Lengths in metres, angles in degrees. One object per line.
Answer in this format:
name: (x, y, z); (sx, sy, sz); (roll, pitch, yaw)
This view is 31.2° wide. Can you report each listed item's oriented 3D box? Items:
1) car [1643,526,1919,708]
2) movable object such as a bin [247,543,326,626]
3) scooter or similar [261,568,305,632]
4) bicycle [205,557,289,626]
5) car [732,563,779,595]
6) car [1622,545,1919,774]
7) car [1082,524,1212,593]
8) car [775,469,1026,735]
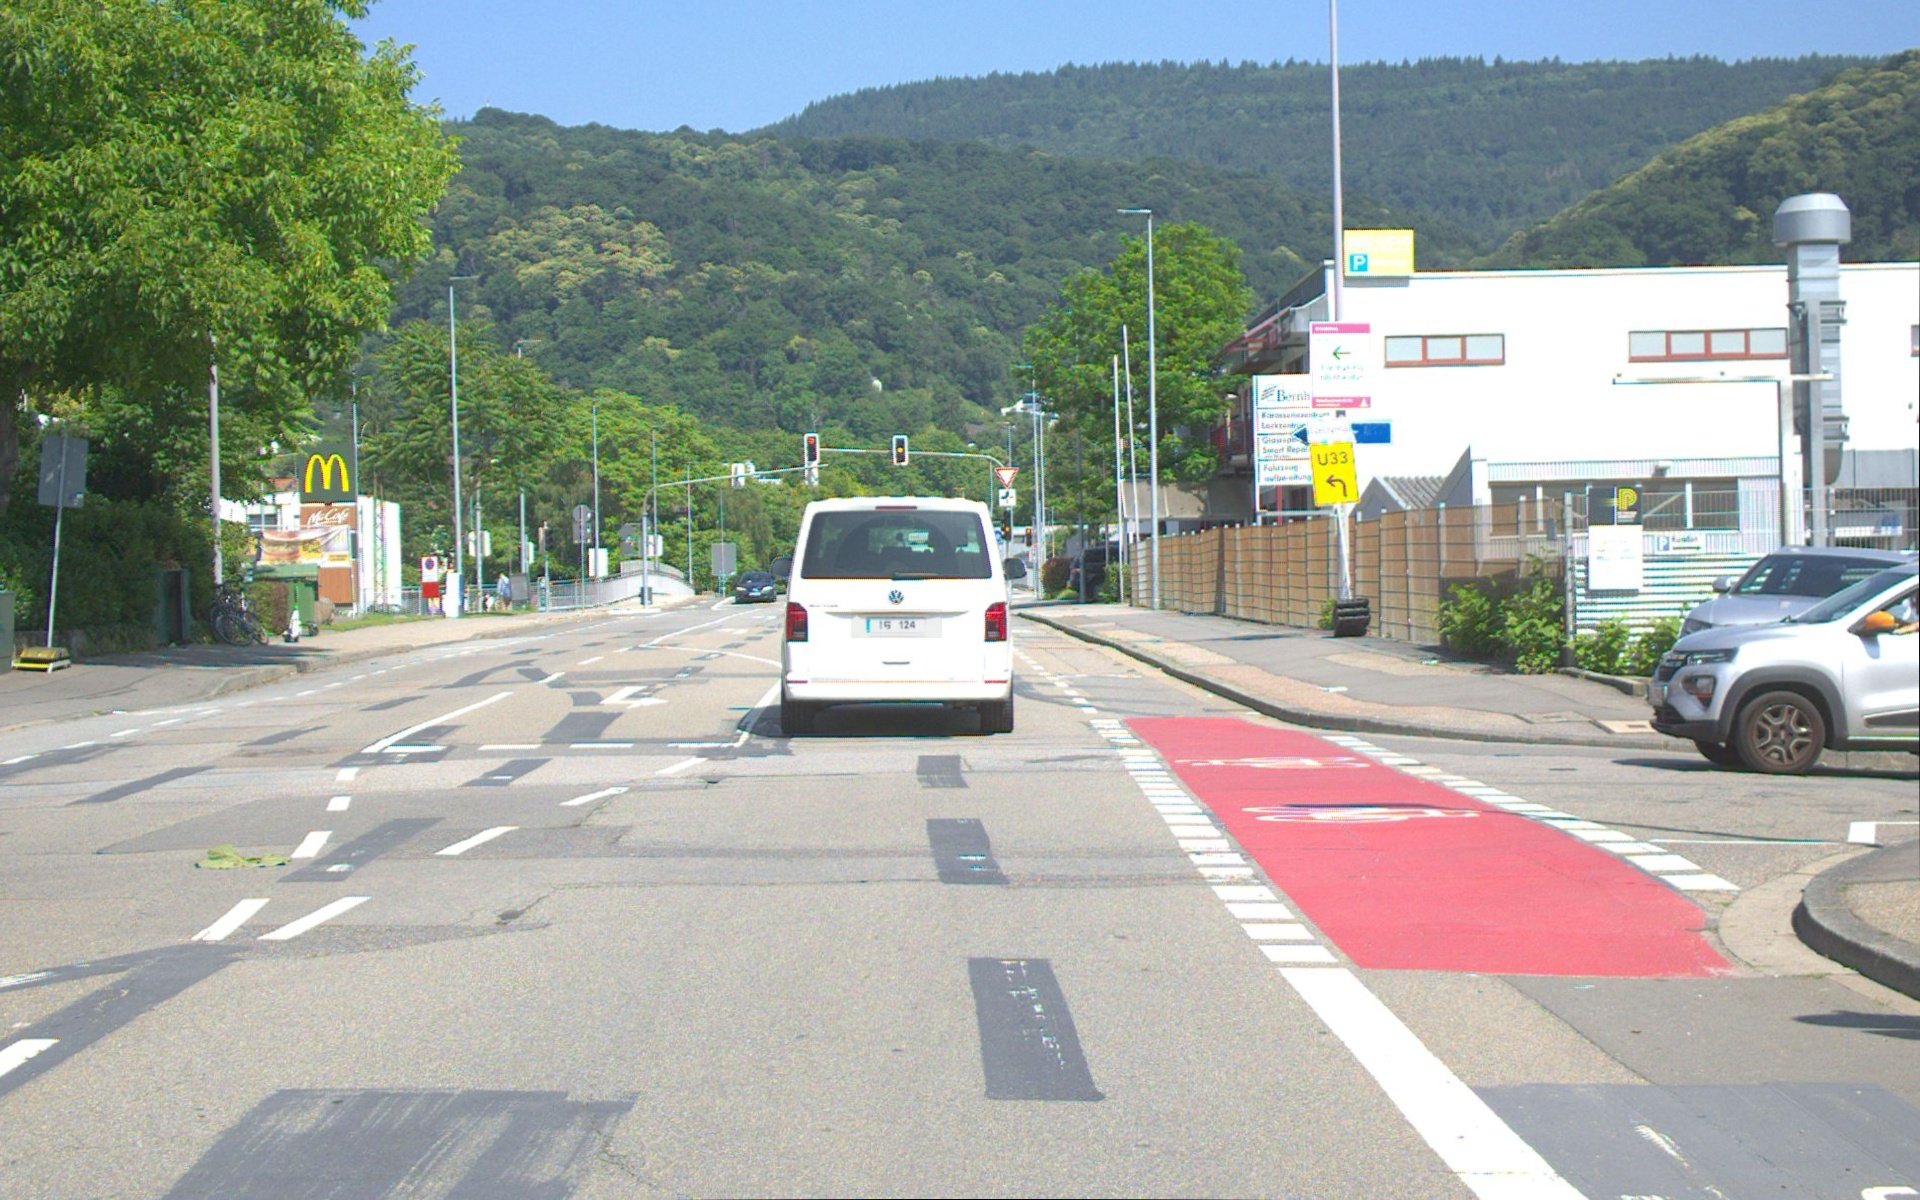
car: (7.524, 0.172, 29.493); (1.955, 1.354, 4.490); (3, 0, 28)
movable object such as a bin: (-13.328, -0.323, 68.075); (1.447, 1.585, 1.307); (-2, 1, -10)
scooter or similar: (-12.269, -0.011, 62.358); (0.646, 1.124, 1.623); (2, 1, -8)
bicycle: (-12.139, -0.164, 58.624); (1.026, 1.114, 2.766); (1, 1, -4)
car: (-9.202, -0.962, 155.112); (1.993, 1.365, 4.327); (-2, 1, -2)
car: (6.516, 0.374, 23.401); (3.665, 1.479, 1.728); (0, 1, -1)
car: (5.917, -1.318, 108.616); (3.987, 2.065, 2.000); (-2, 1, 5)
car: (-0.581, -0.025, 29.345); (1.934, 2.052, 4.545); (-1, 1, -3)
